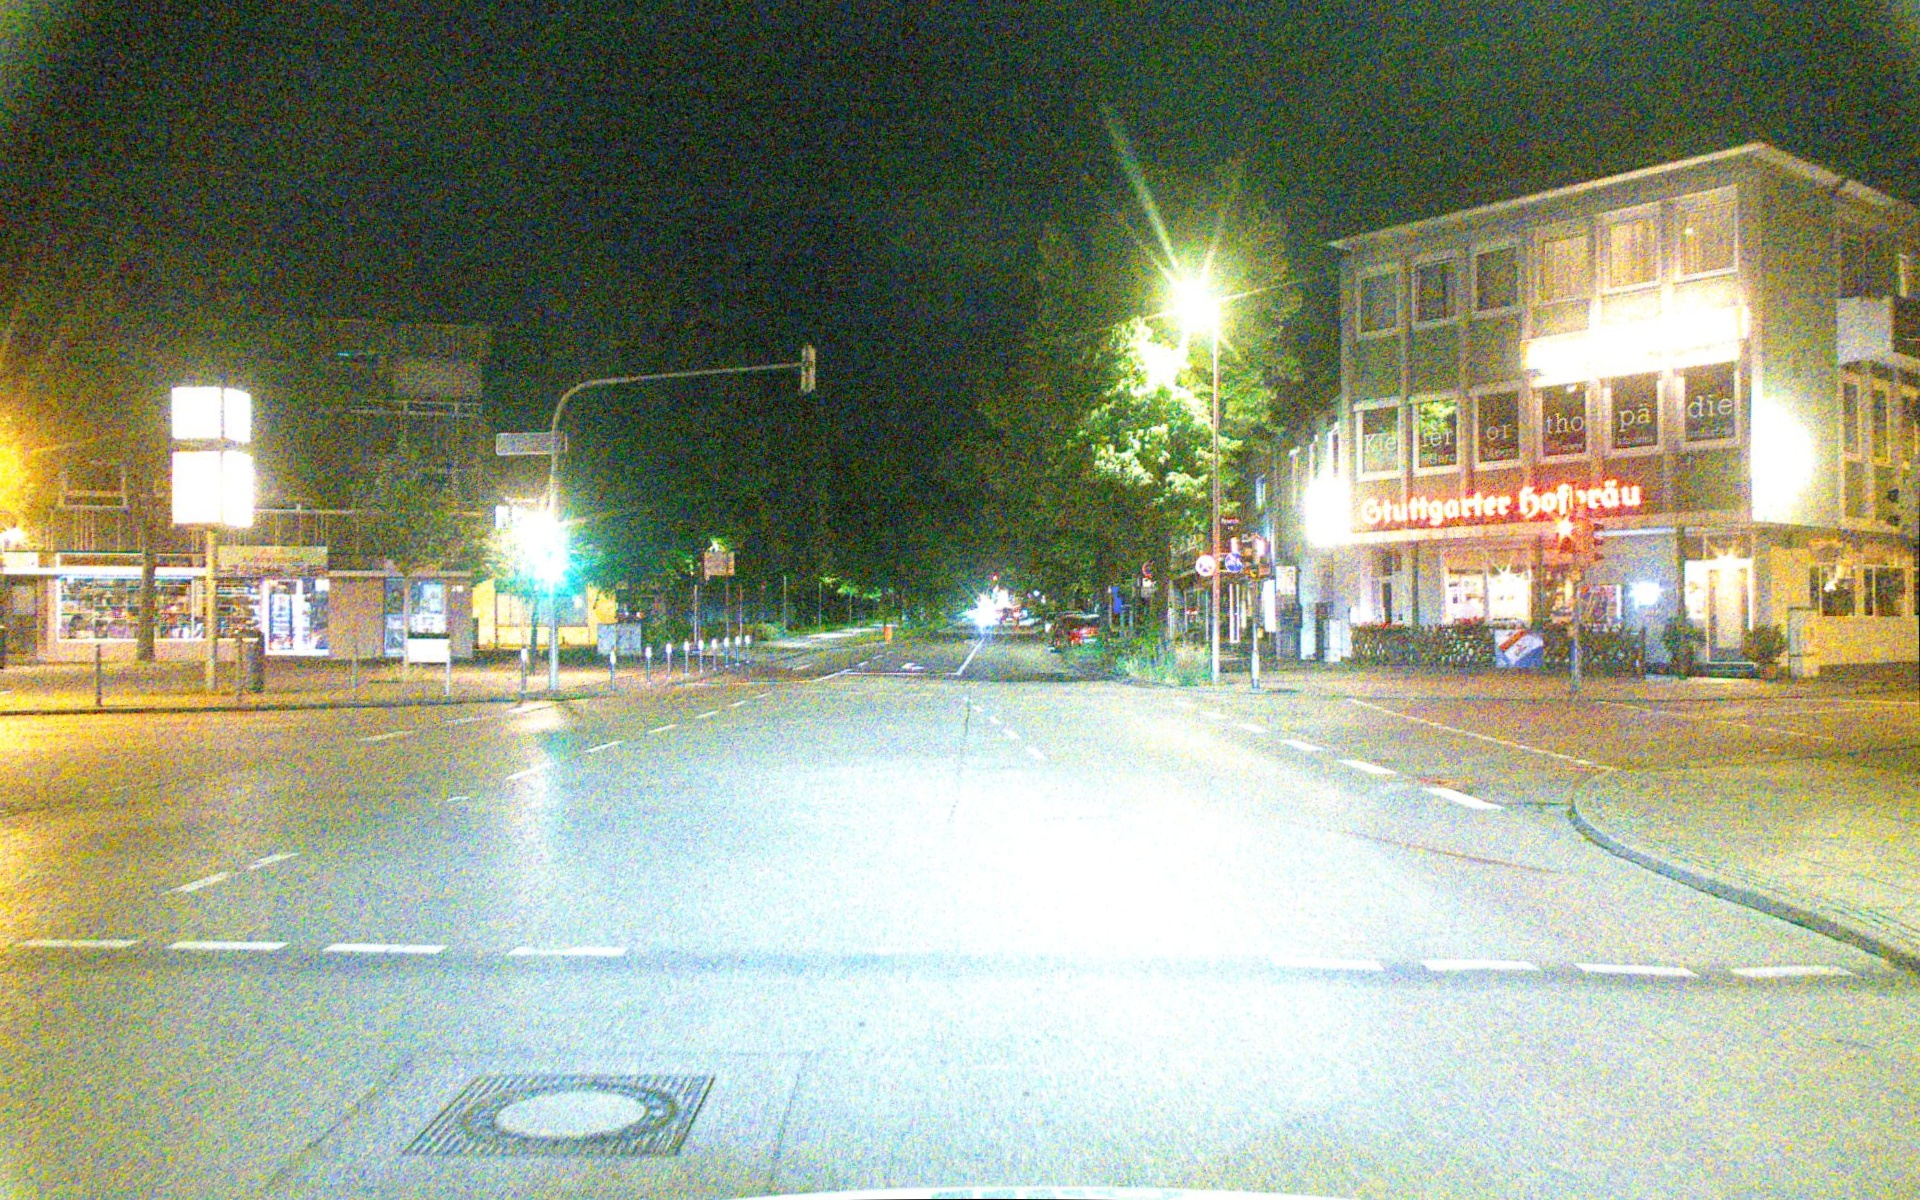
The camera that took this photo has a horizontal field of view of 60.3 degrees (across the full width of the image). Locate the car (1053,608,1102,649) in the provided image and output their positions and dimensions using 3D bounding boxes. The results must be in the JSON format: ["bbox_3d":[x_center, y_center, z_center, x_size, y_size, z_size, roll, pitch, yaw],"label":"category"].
[{"bbox_3d":[4.789,1.149,67.740,1.837,1.644,4.001,0,-1,2],"label":"car"}]

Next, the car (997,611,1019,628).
[{"bbox_3d":[4.273,1.770,147.854,1.835,1.479,4.316,1,-1,1],"label":"car"}]

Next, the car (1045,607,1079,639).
[{"bbox_3d":[5.743,1.293,93.431,1.837,1.713,4.001,0,-1,2],"label":"car"}]

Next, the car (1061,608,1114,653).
[{"bbox_3d":[4.782,1.145,62.681,1.837,1.644,4.001,0,-1,2],"label":"car"}]

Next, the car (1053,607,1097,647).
[{"bbox_3d":[5.218,1.232,75.416,1.837,1.759,4.001,0,-1,2],"label":"car"}]
